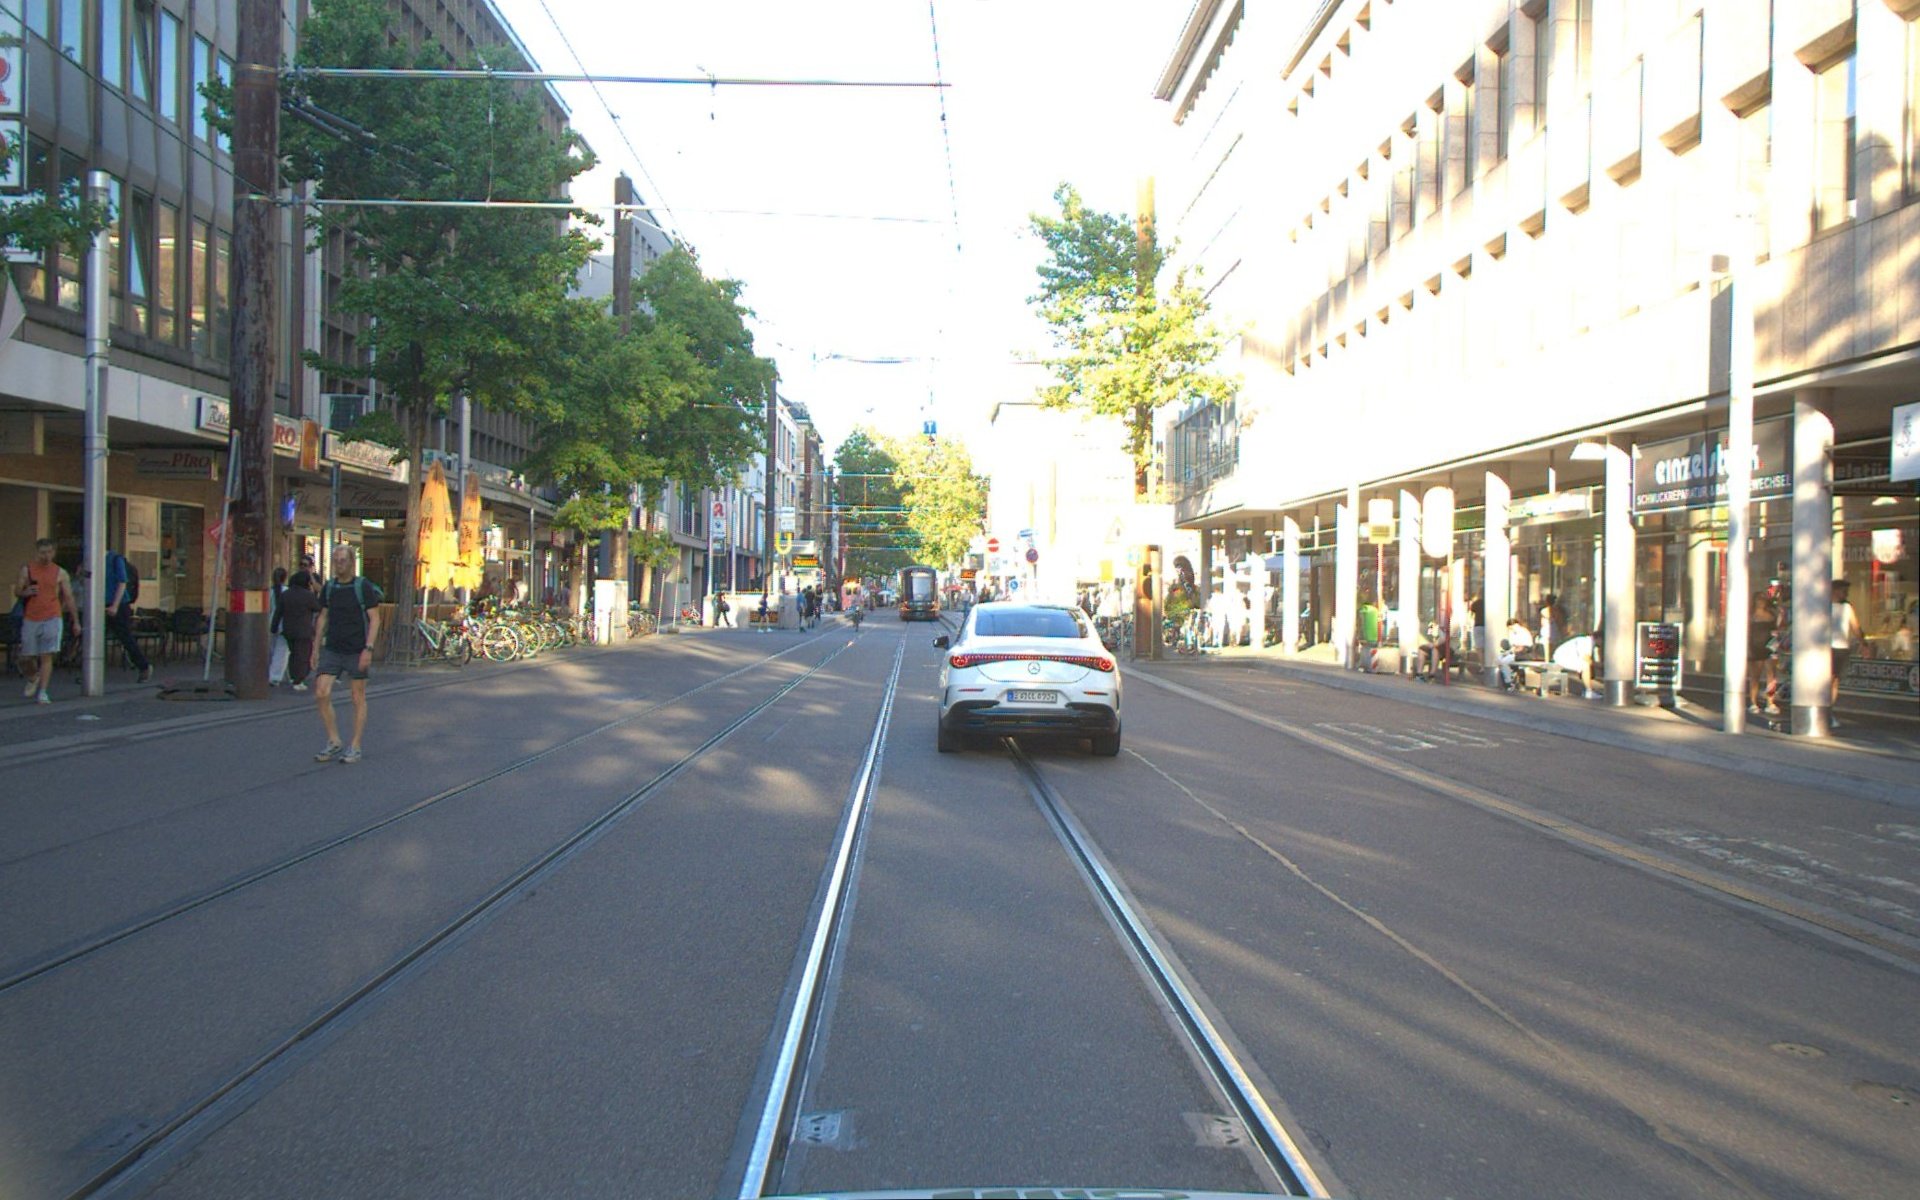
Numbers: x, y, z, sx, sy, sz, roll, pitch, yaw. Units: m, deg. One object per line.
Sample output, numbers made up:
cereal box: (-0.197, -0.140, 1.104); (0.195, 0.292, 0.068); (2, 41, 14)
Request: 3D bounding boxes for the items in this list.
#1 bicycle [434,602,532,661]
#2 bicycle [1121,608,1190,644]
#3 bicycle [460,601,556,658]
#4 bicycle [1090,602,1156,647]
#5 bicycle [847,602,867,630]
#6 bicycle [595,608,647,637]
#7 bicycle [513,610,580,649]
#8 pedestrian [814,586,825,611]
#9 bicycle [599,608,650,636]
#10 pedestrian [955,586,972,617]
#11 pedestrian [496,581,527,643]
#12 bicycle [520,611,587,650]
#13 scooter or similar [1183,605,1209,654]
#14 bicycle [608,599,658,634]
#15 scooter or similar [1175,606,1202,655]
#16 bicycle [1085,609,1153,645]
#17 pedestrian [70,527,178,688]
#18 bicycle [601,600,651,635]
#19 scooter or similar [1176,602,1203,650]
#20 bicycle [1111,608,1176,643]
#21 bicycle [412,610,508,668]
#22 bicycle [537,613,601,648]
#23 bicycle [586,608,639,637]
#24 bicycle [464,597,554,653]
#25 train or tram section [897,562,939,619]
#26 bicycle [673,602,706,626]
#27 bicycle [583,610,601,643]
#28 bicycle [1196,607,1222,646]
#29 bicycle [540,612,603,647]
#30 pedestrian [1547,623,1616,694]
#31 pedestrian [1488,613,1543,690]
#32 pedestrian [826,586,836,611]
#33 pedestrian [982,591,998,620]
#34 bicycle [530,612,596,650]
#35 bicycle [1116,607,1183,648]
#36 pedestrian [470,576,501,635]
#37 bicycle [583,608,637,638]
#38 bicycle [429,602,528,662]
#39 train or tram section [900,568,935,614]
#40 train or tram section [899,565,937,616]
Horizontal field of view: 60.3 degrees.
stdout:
bicycle: (-9.317, 0.614, 32.327); (1.754, 1.096, 0.376); (2, 0, -6)
bicycle: (6.195, 0.826, 52.426); (2.078, 1.115, 0.607); (0, 0, -15)
bicycle: (-9.172, 0.602, 33.610); (1.811, 1.096, 0.376); (2, 0, -6)
bicycle: (4.932, 0.745, 50.069); (1.875, 1.303, 0.608); (-1, 0, -13)
bicycle: (-4.474, 0.678, 72.060); (0.784, 1.162, 2.256); (2, 0, -3)
bicycle: (-10.134, 0.675, 49.503); (1.462, 0.797, 0.344); (2, 0, -1)
bicycle: (-9.701, 0.683, 38.790); (1.462, 0.855, 0.344); (2, 0, -1)
pedestrian: (-9.214, -0.107, 108.575); (0.647, 1.627, 0.573); (1, 0, -3)
bicycle: (-10.111, 0.669, 49.873); (1.462, 0.797, 0.344); (2, 0, -1)
pedestrian: (0.217, 0.103, 96.968); (0.941, 1.816, 0.803); (-1, 0, -2)
pedestrian: (-12.138, 0.325, 44.790); (0.700, 1.668, 0.683); (0, 0, -8)
bicycle: (-9.632, 0.713, 39.177); (1.462, 0.855, 0.344); (2, 0, -1)
scooter or similar: (6.372, 0.782, 44.711); (0.483, 1.299, 0.658); (-1, 0, -13)
bicycle: (-10.141, 0.508, 51.270); (1.466, 1.047, 0.343); (2, 0, -12)
scooter or similar: (6.246, 0.822, 45.174); (0.518, 1.299, 0.658); (-1, 0, -13)
bicycle: (5.086, 0.853, 53.059); (2.077, 1.115, 0.608); (1, -1, -13)
pedestrian: (-10.637, 0.084, 21.077); (0.785, 1.957, 1.070); (3, 0, -5)
bicycle: (-10.260, 0.533, 50.827); (1.466, 1.027, 0.343); (2, 0, -12)
scooter or similar: (6.326, 0.712, 45.680); (0.518, 1.299, 0.658); (-1, 0, -13)
bicycle: (6.066, 0.836, 54.621); (2.077, 1.115, 0.608); (0, 0, -13)
bicycle: (-8.801, 0.685, 29.138); (1.562, 0.947, 0.377); (2, 0, 5)
bicycle: (-9.572, 0.737, 40.542); (1.462, 0.797, 0.344); (2, 0, -1)
bicycle: (-10.244, 0.668, 48.776); (1.462, 0.797, 0.344); (2, 0, -1)
bicycle: (-9.835, 0.541, 36.103); (1.809, 1.160, 0.377); (2, 0, -1)
train or tram section: (-2.828, -0.616, 110.387); (2.640, 3.578, 12.541); (0, 0, -2)
bicycle: (-11.825, 0.612, 72.416); (0.703, 1.027, 2.041); (1, 0, 12)
bicycle: (-9.389, 0.680, 42.212); (0.337, 0.797, 1.402); (2, 0, -9)
bicycle: (7.564, 0.800, 50.301); (0.553, 1.147, 1.930); (-1, 0, 2)
bicycle: (-9.675, 0.738, 41.172); (1.462, 0.797, 0.344); (2, 0, -1)
pedestrian: (9.649, 0.902, 25.686); (0.818, 1.049, 0.696); (1, 0, 3)
pedestrian: (9.119, 0.836, 27.169); (0.652, 1.219, 0.785); (1, 0, 3)
pedestrian: (-8.488, -0.094, 108.676); (0.647, 1.627, 0.573); (1, 0, -3)
pedestrian: (1.955, 0.357, 107.126); (0.941, 1.816, 0.803); (-1, 0, -2)
bicycle: (-9.557, 0.734, 39.823); (1.462, 0.855, 0.344); (2, 0, -1)
bicycle: (5.638, 0.807, 49.181); (1.875, 1.177, 0.608); (-1, 0, -13)
pedestrian: (-12.860, 0.140, 44.804); (0.700, 1.574, 0.683); (0, 0, -8)
bicycle: (-10.239, 0.668, 48.417); (1.462, 0.797, 0.344); (2, 0, -1)
bicycle: (-9.276, 0.612, 31.870); (1.754, 1.096, 0.376); (2, 0, -6)
train or tram section: (-3.471, -0.704, 134.766); (2.640, 3.578, 11.139); (0, 0, -2)
train or tram section: (-3.155, -0.664, 122.932); (2.640, 3.578, 12.541); (0, 0, -2)
